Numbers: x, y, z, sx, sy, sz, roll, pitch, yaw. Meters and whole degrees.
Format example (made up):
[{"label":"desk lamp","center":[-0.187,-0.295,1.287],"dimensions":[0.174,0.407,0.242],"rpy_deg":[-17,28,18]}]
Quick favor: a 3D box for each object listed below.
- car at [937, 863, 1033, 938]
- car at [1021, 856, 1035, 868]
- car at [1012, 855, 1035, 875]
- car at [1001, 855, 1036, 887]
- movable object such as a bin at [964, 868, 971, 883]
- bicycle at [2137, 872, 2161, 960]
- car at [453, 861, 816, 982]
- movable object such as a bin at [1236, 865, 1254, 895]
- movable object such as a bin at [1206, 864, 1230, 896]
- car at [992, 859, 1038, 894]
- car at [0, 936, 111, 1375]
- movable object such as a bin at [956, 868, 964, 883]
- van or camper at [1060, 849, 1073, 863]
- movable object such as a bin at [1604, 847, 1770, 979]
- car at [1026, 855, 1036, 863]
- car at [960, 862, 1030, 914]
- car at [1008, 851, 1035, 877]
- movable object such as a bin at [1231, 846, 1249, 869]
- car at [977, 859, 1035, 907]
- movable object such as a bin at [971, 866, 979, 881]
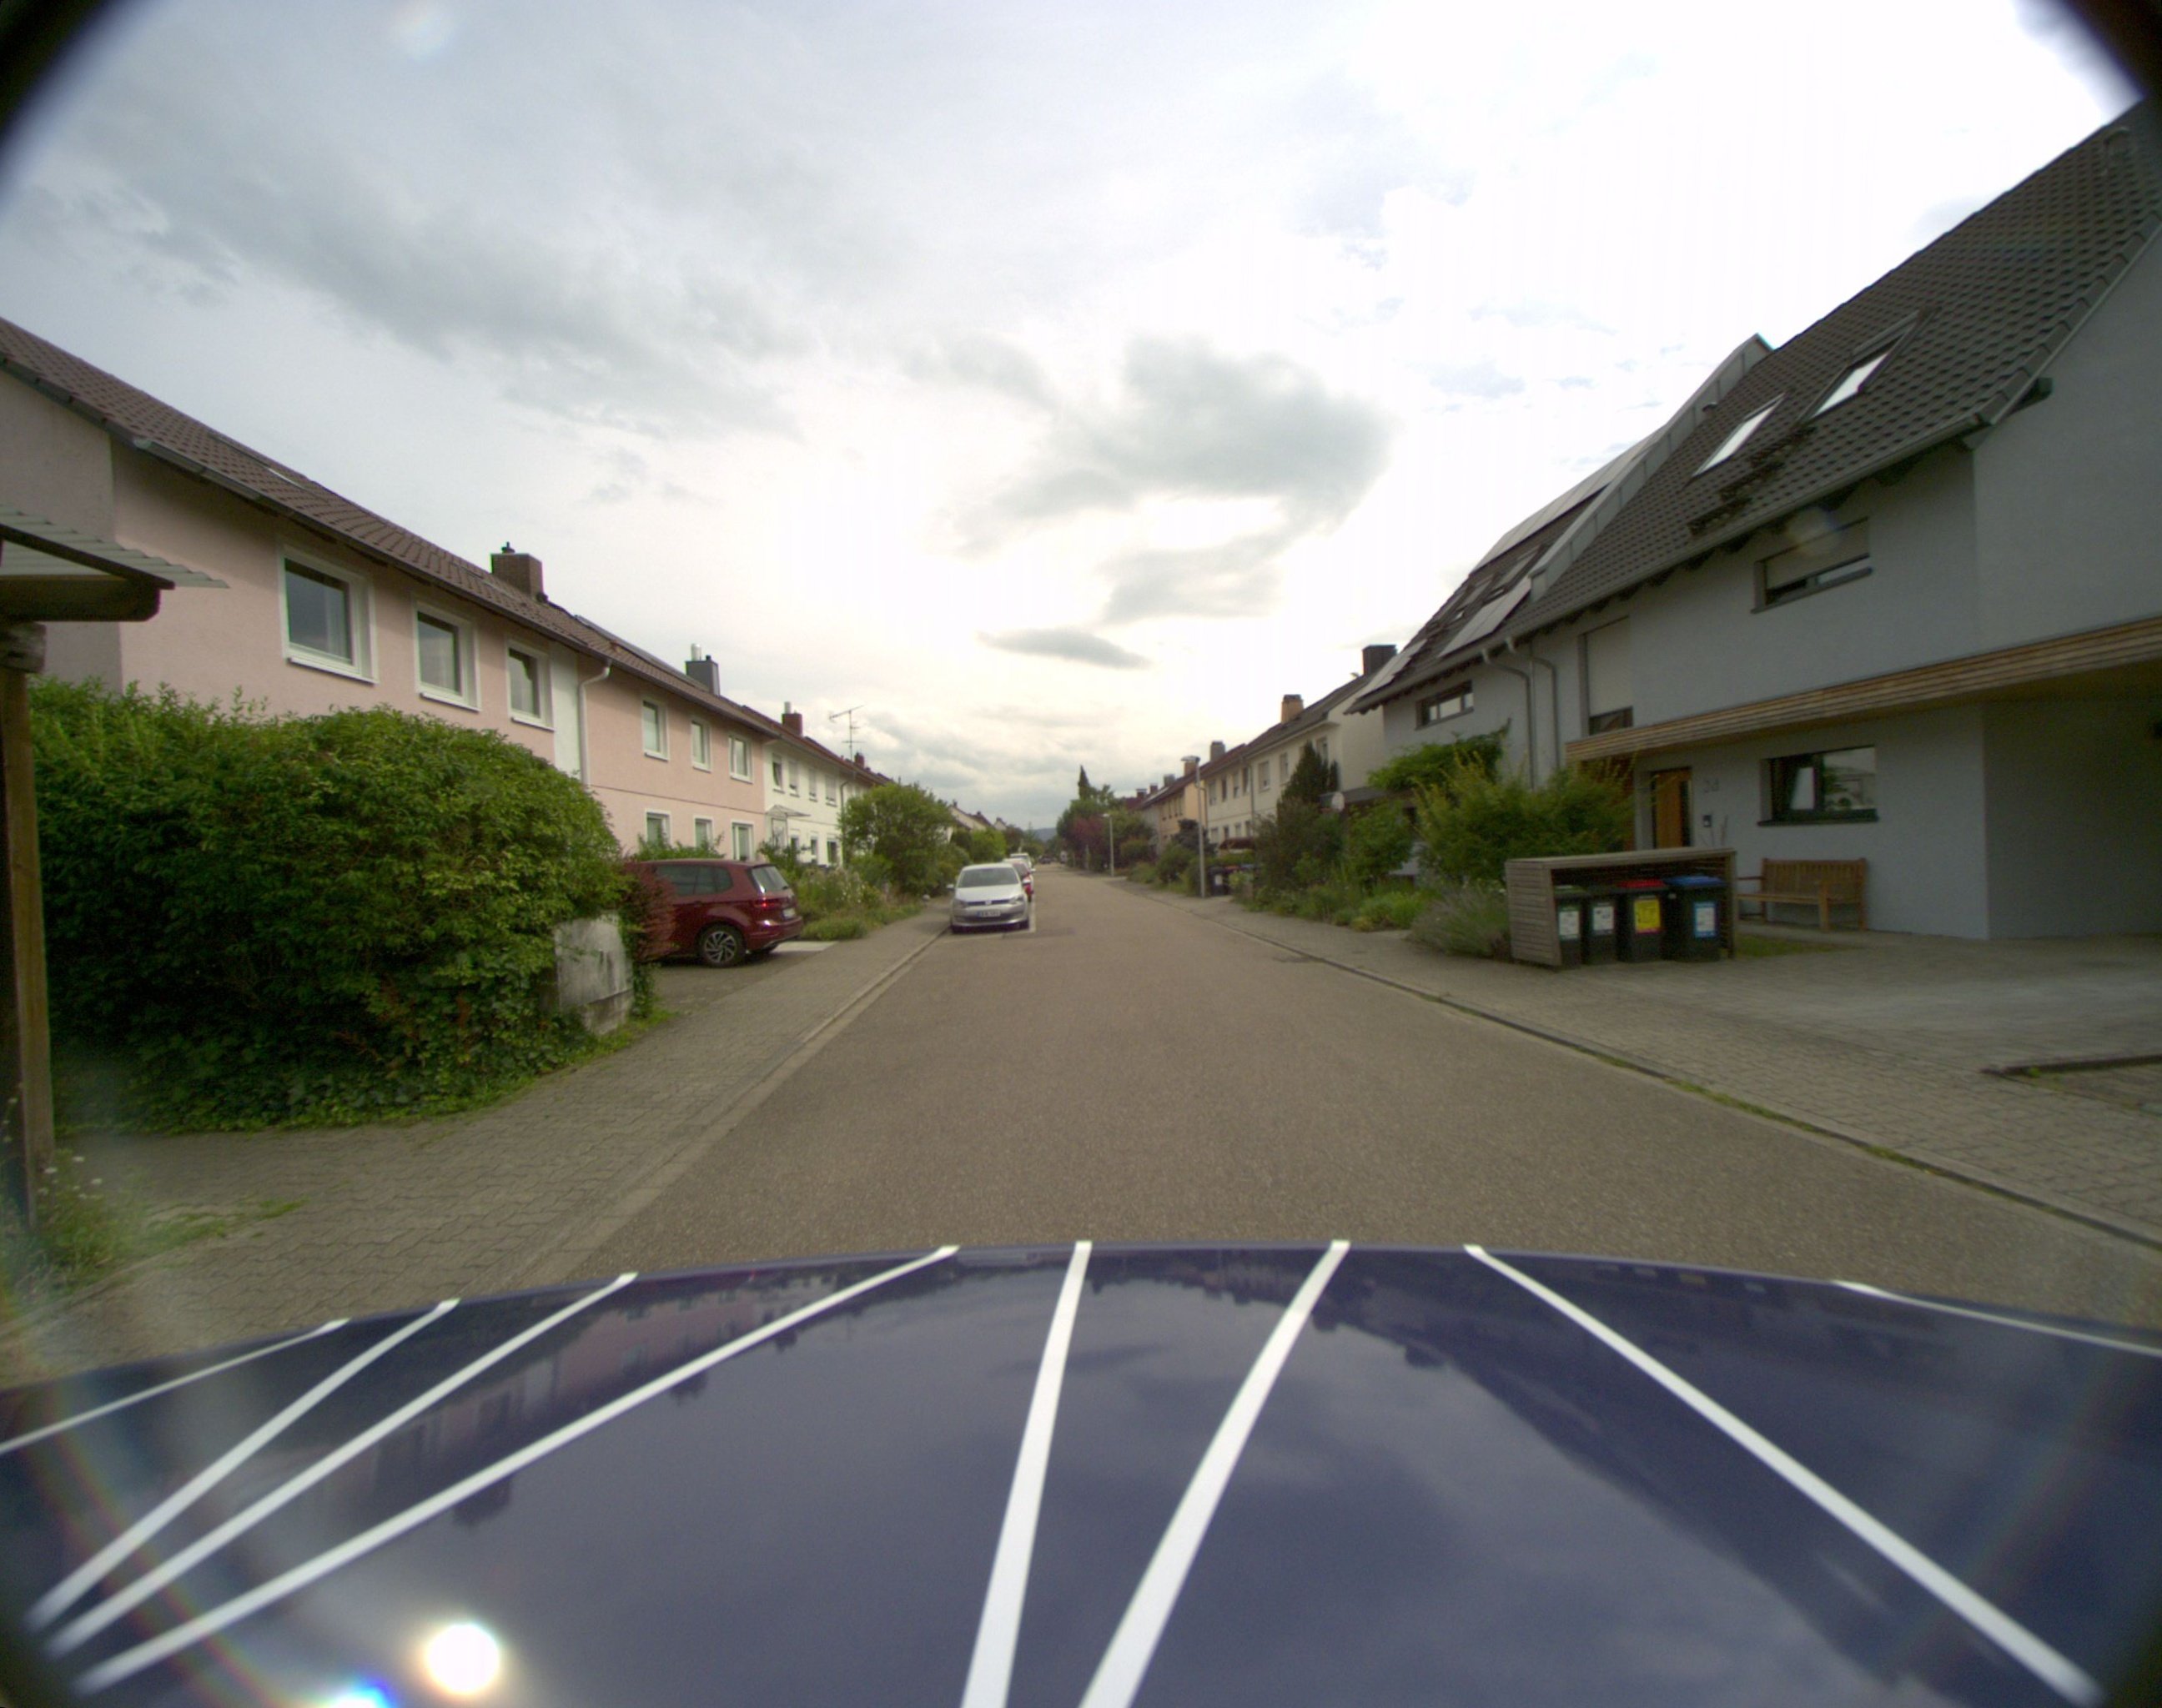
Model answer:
[{"label":"car","center":[-2.145,0.965,17.545],"dimensions":[1.870,1.408,4.251],"rpy_deg":[-3,0,-5]},{"label":"car","center":[-6.923,1.005,100.067],"dimensions":[1.754,1.458,4.646],"rpy_deg":[-2,0,-4]},{"label":"car","center":[-5.038,0.900,65.994],"dimensions":[1.816,1.641,4.408],"rpy_deg":[-2,0,-7]},{"label":"car","center":[-3.407,0.895,41.557],"dimensions":[1.719,1.535,3.972],"rpy_deg":[-4,0,-5]},{"label":"movable object such as a bin","center":[-7.264,1.385,48.643],"dimensions":[0.432,0.916,0.464],"rpy_deg":[-3,1,-8]},{"label":"bicycle","center":[11.420,0.579,7.264],"dimensions":[1.934,0.844,0.357],"rpy_deg":[-1,1,6]},{"label":"car","center":[-6.487,0.935,11.485],"dimensions":[4.282,1.551,1.934],"rpy_deg":[-1,0,-3]},{"label":"movable object such as a bin","center":[5.338,0.837,24.732],"dimensions":[0.468,0.950,0.467],"rpy_deg":[-1,1,-3]},{"label":"movable object such as a bin","center":[4.463,0.834,24.773],"dimensions":[0.603,1.021,0.664],"rpy_deg":[-2,1,-2]},{"label":"car","center":[-2.980,0.945,33.866],"dimensions":[1.843,1.404,4.634],"rpy_deg":[-2,0,-6]},{"label":"car","center":[-5.762,1.073,1.608],"dimensions":[4.463,1.424,2.026],"rpy_deg":[-2,0,-5]},{"label":"movable object such as a bin","center":[-7.723,1.363,48.586],"dimensions":[0.432,0.916,0.464],"rpy_deg":[-3,1,-8]},{"label":"van or camper","center":[-3.009,0.440,155.742],"dimensions":[2.347,2.719,5.746],"rpy_deg":[-2,0,-3]},{"label":"movable object such as a bin","center":[6.698,0.619,8.460],"dimensions":[0.952,1.304,1.000],"rpy_deg":[-5,1,-4]},{"label":"car","center":[-10.858,1.038,165.065],"dimensions":[2.000,1.589,3.998],"rpy_deg":[-2,0,-6]},{"label":"car","center":[-2.502,0.968,23.030],"dimensions":[1.778,1.348,4.264],"rpy_deg":[-2,0,-3]},{"label":"car","center":[-4.824,0.784,61.000],"dimensions":[2.026,1.936,4.745],"rpy_deg":[-2,0,-5]},{"label":"movable object such as a bin","center":[7.372,0.167,35.222],"dimensions":[0.677,1.001,0.598],"rpy_deg":[-2,0,-3]},{"label":"car","center":[-2.656,0.992,27.862],"dimensions":[1.778,1.427,4.824],"rpy_deg":[-4,0,-3]},{"label":"movable object such as a bin","center":[-6.791,1.264,48.666],"dimensions":[0.408,0.916,0.420],"rpy_deg":[-2,0,-8]}]
